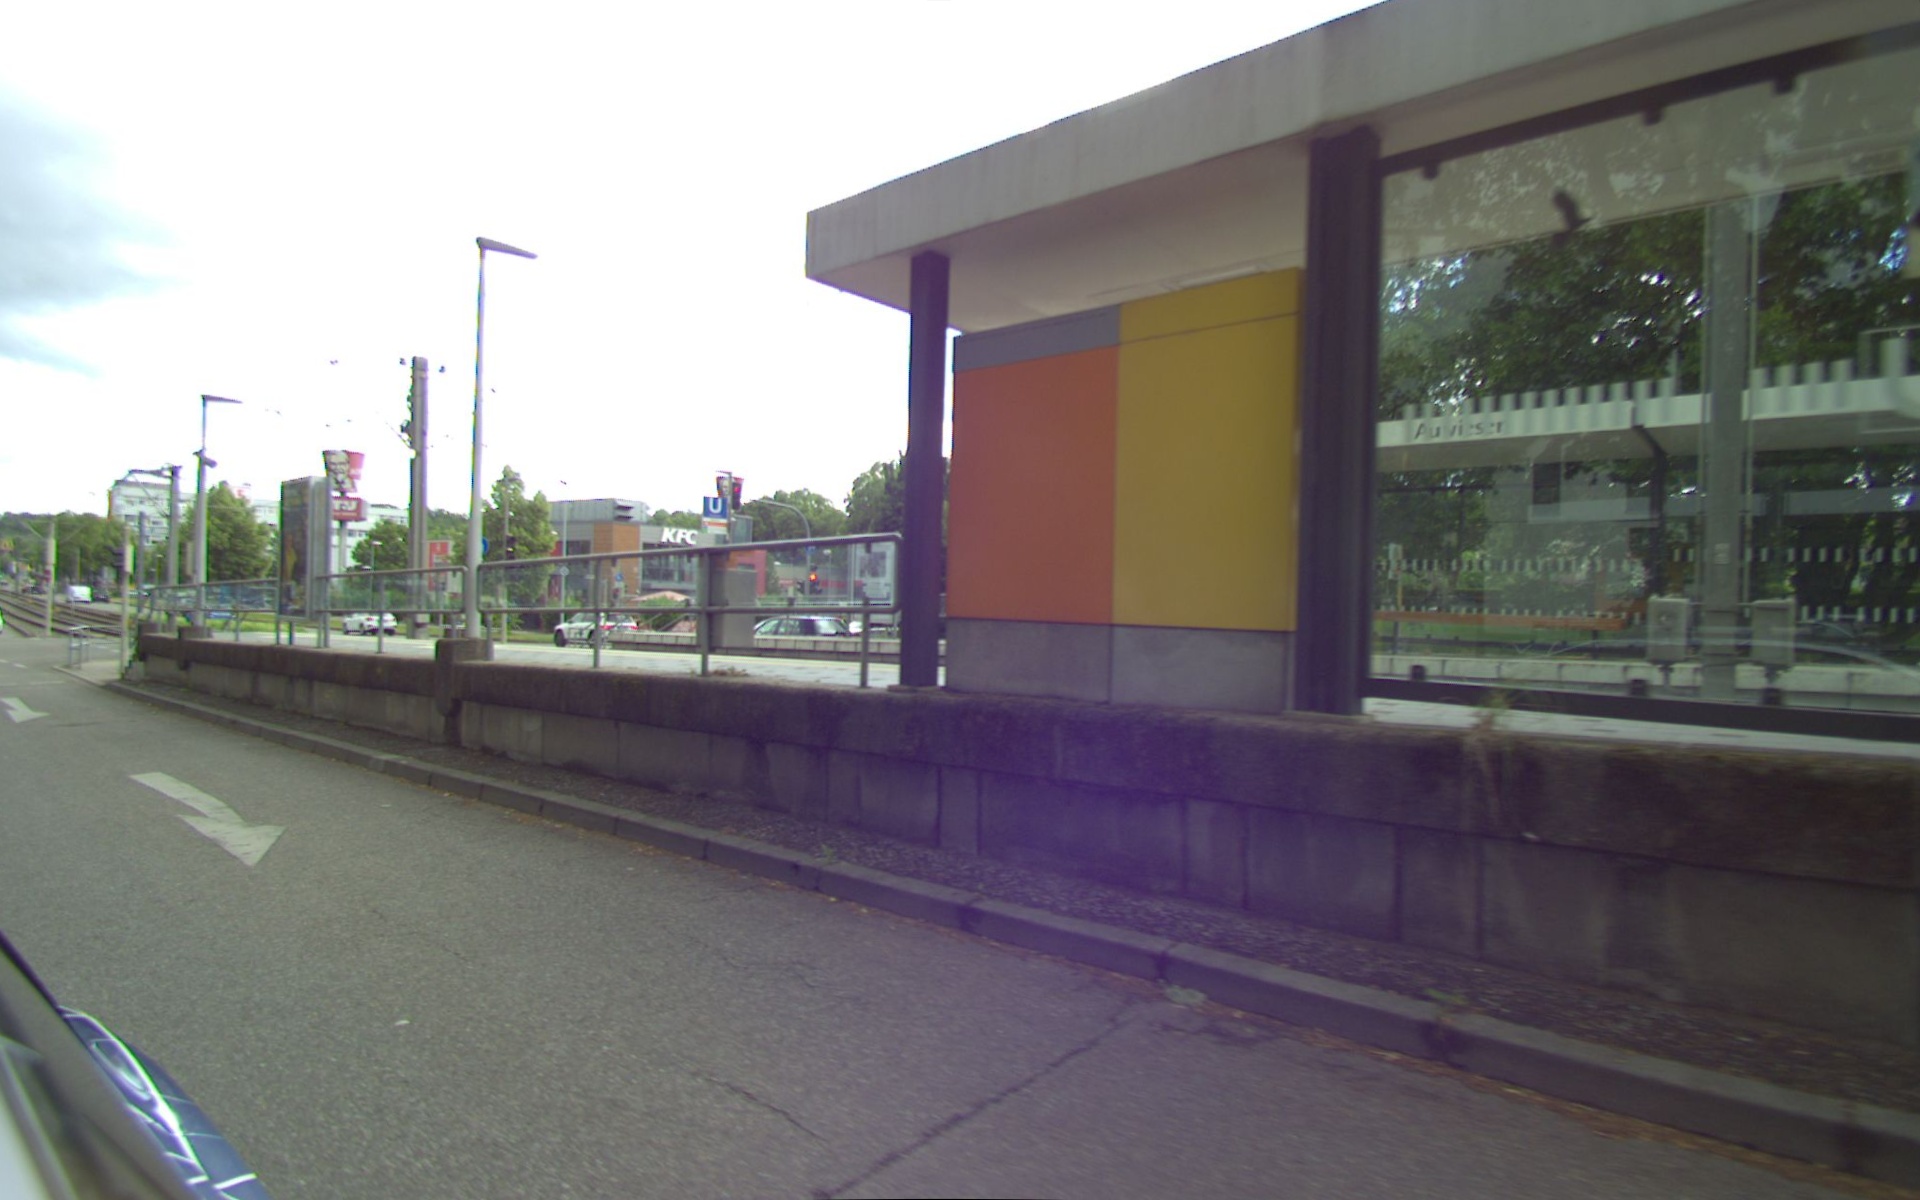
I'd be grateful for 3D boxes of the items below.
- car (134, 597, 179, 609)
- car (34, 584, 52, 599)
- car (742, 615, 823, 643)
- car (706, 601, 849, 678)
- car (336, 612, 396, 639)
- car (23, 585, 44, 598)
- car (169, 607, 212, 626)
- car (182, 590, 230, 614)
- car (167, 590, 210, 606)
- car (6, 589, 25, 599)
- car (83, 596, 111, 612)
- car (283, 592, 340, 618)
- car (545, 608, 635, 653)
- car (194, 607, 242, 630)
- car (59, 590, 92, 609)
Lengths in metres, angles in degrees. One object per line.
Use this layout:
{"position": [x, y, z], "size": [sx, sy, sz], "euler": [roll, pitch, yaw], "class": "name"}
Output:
{"position": [-108.418, 0.389, 136.563], "size": [4.546, 1.503, 2.002], "euler": [-2, 2, -43], "class": "car"}
{"position": [-168.021, -1.554, 185.470], "size": [6.000, 2.518, 1.848], "euler": [1, -2, 43], "class": "car"}
{"position": [-9.407, 1.540, 53.751], "size": [3.828, 1.418, 1.851], "euler": [2, -1, -37], "class": "car"}
{"position": [-5.003, 1.001, 27.494], "size": [3.998, 1.874, 1.680], "euler": [1, 2, 41], "class": "car"}
{"position": [-35.104, 1.506, 59.800], "size": [3.995, 1.457, 1.669], "euler": [1, -3, 39], "class": "car"}
{"position": [-154.394, -1.345, 168.599], "size": [3.997, 2.029, 1.973], "euler": [1, -2, 40], "class": "car"}
{"position": [-66.198, 1.400, 87.066], "size": [4.503, 1.493, 1.973], "euler": [-1, -4, 40], "class": "car"}
{"position": [-94.091, 0.296, 126.259], "size": [2.289, 2.769, 4.420], "euler": [1, -2, 44], "class": "car"}
{"position": [-101.239, -0.257, 132.882], "size": [4.294, 1.933, 2.002], "euler": [-2, 2, -43], "class": "car"}
{"position": [-164.401, -0.973, 176.202], "size": [4.477, 1.594, 1.765], "euler": [1, -2, 39], "class": "car"}
{"position": [-109.154, 0.503, 128.029], "size": [4.104, 2.029, 1.973], "euler": [1, -1, 40], "class": "car"}
{"position": [-58.988, 0.428, 92.119], "size": [2.059, 2.182, 3.943], "euler": [1, 2, 43], "class": "car"}
{"position": [-16.031, 1.281, 43.750], "size": [4.398, 1.764, 1.692], "euler": [1, -1, 41], "class": "car"}
{"position": [-50.863, 1.256, 69.352], "size": [4.048, 1.457, 1.579], "euler": [1, -2, 38], "class": "car"}
{"position": [-103.227, -0.075, 118.076], "size": [4.880, 2.029, 1.974], "euler": [1, -1, 38], "class": "car"}
